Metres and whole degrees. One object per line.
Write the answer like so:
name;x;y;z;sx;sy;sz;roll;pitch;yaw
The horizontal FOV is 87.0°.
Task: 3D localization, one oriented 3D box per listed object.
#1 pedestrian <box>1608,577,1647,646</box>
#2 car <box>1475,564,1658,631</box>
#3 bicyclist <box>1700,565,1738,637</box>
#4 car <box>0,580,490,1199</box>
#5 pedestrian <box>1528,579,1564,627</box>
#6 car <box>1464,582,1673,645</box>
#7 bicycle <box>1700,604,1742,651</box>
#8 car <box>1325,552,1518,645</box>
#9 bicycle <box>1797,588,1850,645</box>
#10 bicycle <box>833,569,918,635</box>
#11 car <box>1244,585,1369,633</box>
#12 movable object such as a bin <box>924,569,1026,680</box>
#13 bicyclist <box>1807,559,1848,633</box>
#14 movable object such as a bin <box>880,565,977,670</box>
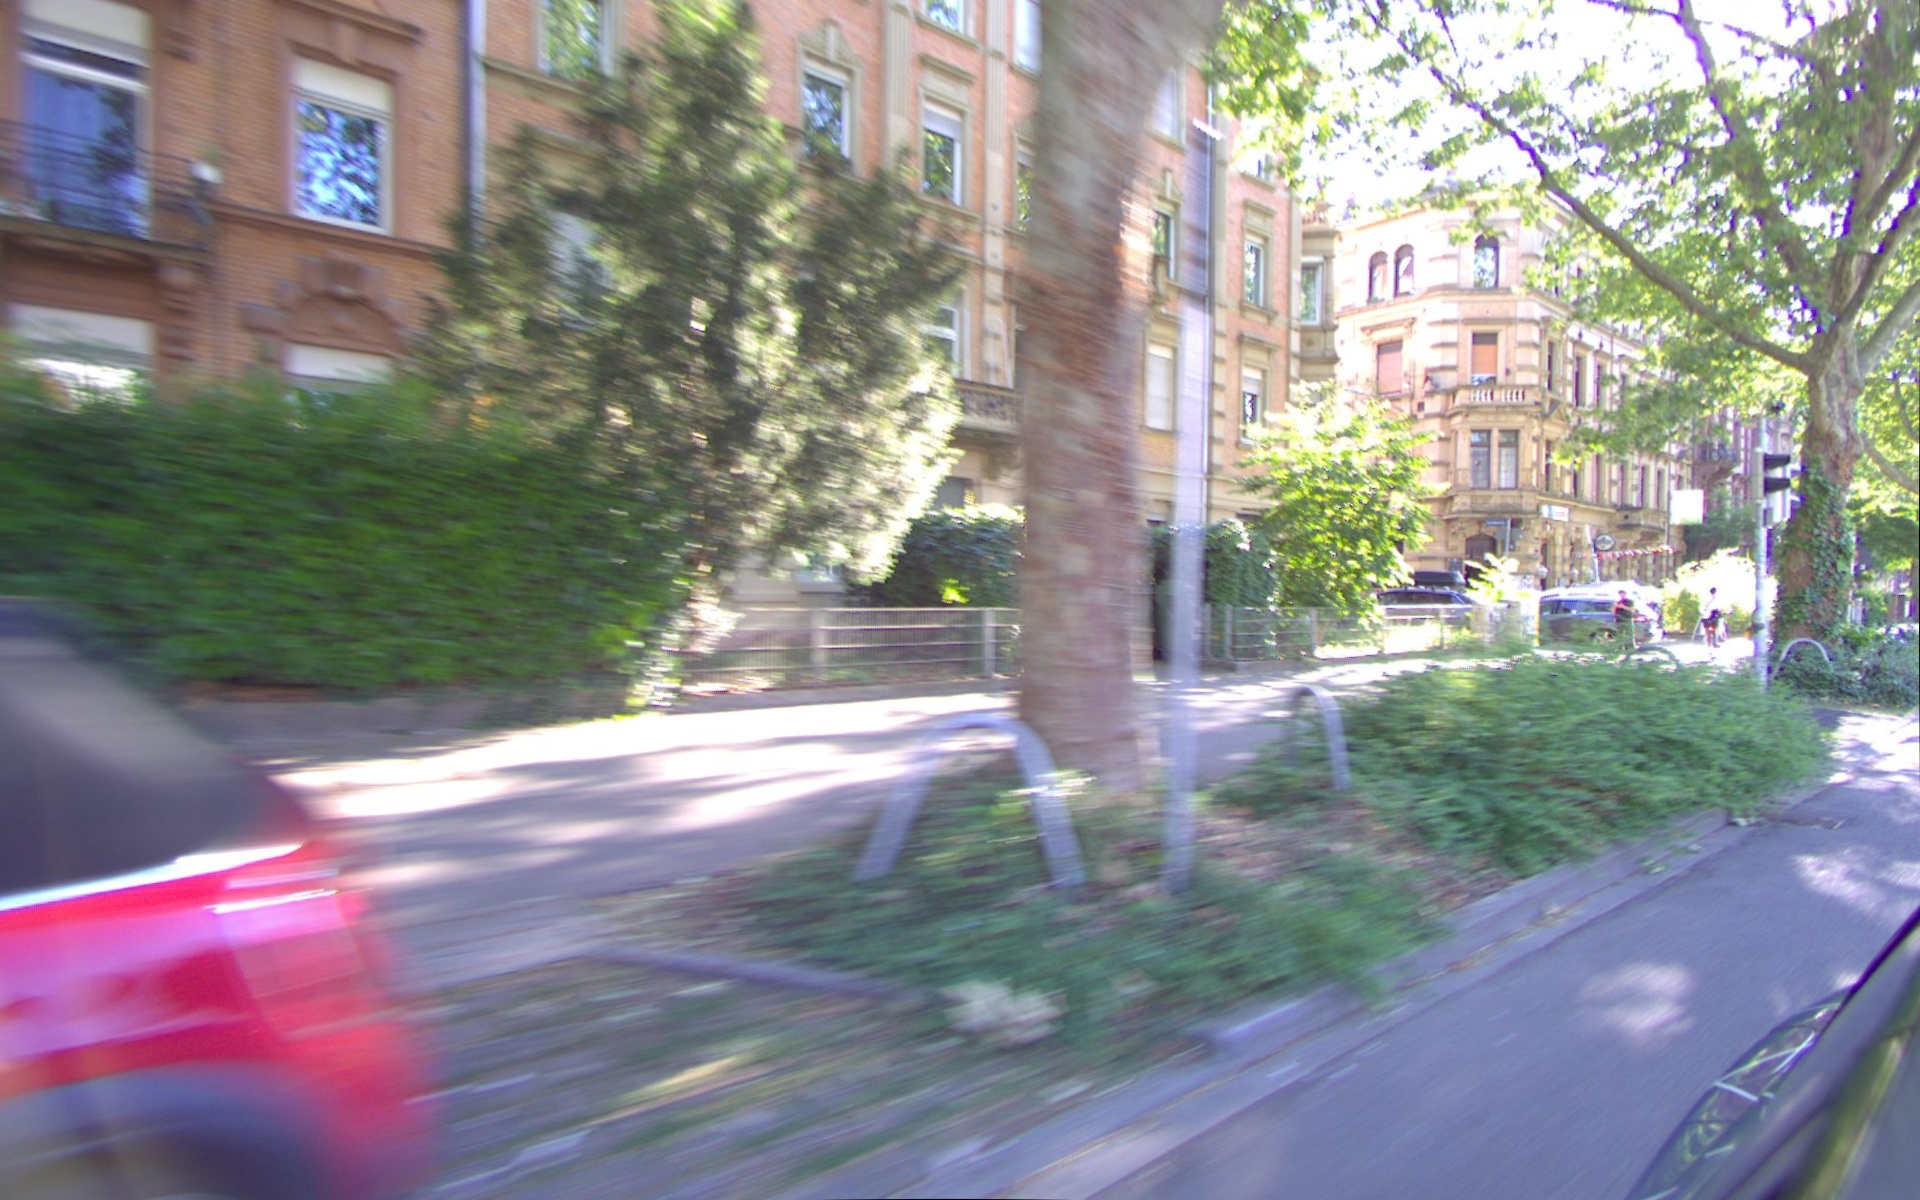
pedestrian;15.816;0.279;23.985;0.596;1.569;0.540;4;1;-41
car;19.093;-0.136;32.016;1.873;1.869;4.559;1;2;-39
bicyclist;17.772;0.022;23.697;0.543;1.645;0.634;5;3;44
car;-2.911;0.729;1.239;3.930;1.480;1.718;-1;2;-41
pedestrian;20.039;0.094;34.587;0.885;1.611;0.862;1;0;44
car;16.419;0.330;27.466;1.876;1.558;4.550;1;0;-44
bicycle;17.834;0.647;23.698;0.560;1.051;1.902;1;0;43
car;11.908;-0.077;26.294;1.965;2.038;3.996;5;0;-41
bicycle;19.839;0.394;23.247;2.187;1.193;0.562;4;1;-41
bicycle;-1.507;0.047;18.207;1.488;1.156;0.327;1;0;-25
car;13.339;0.310;39.182;1.873;1.581;4.180;1;2;-39
movable object such as a bin;0.218;0.330;14.706;1.064;1.482;0.909;1;4;-41
bicyclist;20.044;-0.094;23.394;0.633;1.645;0.544;4;0;-41
movable object such as a bin;-0.480;0.250;15.468;1.064;1.482;0.909;1;4;-41
